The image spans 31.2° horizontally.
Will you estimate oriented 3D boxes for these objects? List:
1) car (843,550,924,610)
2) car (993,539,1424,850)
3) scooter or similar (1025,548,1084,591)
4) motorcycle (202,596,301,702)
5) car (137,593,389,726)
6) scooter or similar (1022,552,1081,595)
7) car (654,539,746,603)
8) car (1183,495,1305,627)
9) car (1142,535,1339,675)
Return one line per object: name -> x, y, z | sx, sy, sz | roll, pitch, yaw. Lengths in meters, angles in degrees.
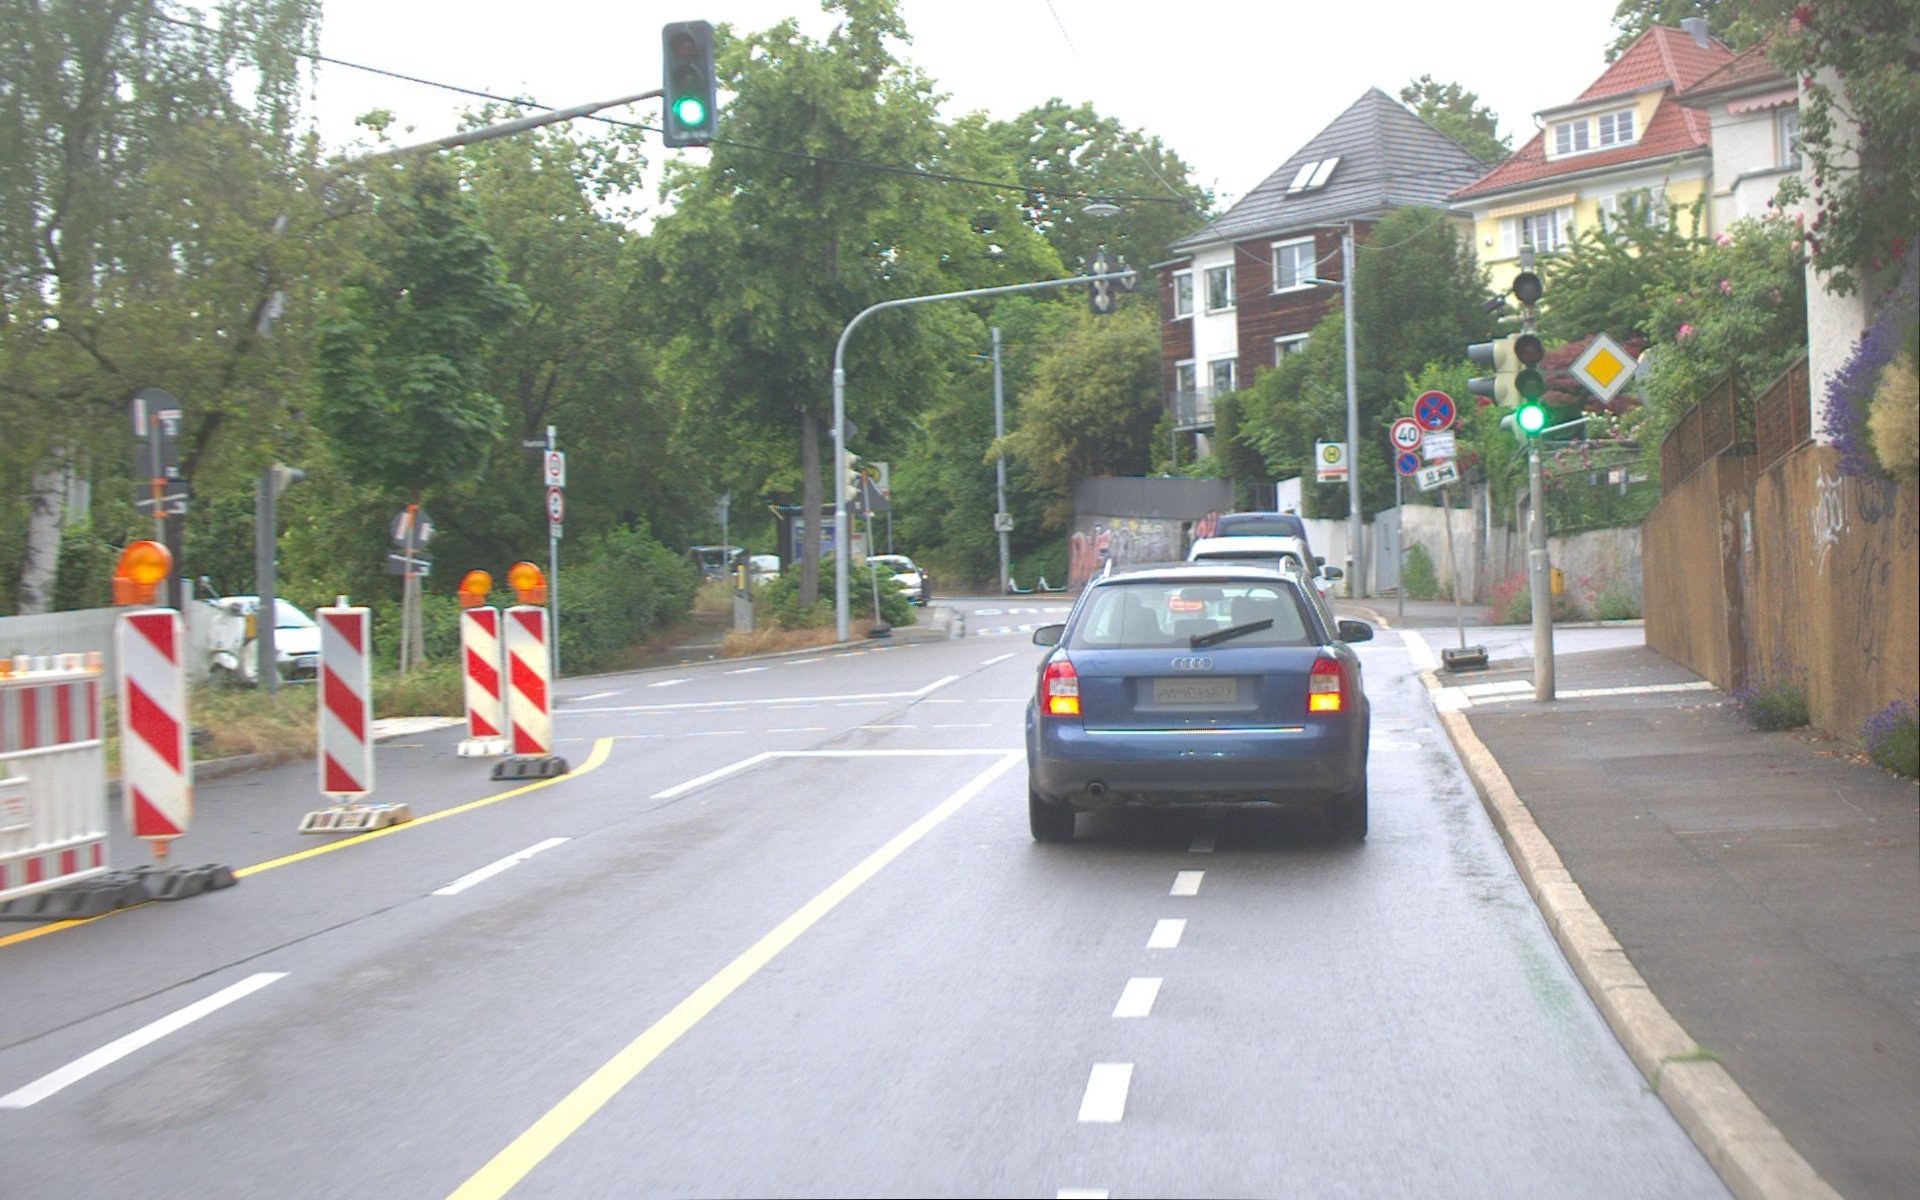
car -> -1.985, -0.518, 88.454 | 1.673, 1.422, 4.001 | -3, 1, -6
car -> 1.456, 0.433, 18.601 | 1.778, 1.434, 3.998 | -1, 2, 12
scooter or similar -> 3.105, -0.996, 113.450 | 1.834, 1.310, 0.600 | 3, -3, -6
motorcycle -> -8.109, 0.550, 39.391 | 0.591, 1.127, 1.843 | -3, 1, 4
car -> -9.372, 0.815, 45.993 | 1.684, 1.503, 4.010 | -5, 0, -36
scooter or similar -> 3.054, -0.894, 114.467 | 1.834, 1.310, 0.600 | 3, -3, -6
car -> -7.967, -0.867, 105.024 | 1.836, 1.837, 3.903 | -3, 1, -18
car -> 4.447, -0.624, 53.481 | 1.731, 1.888, 4.054 | -3, 1, 6
car -> 3.065, 0.056, 36.903 | 1.909, 1.384, 4.349 | 1, 0, 7
